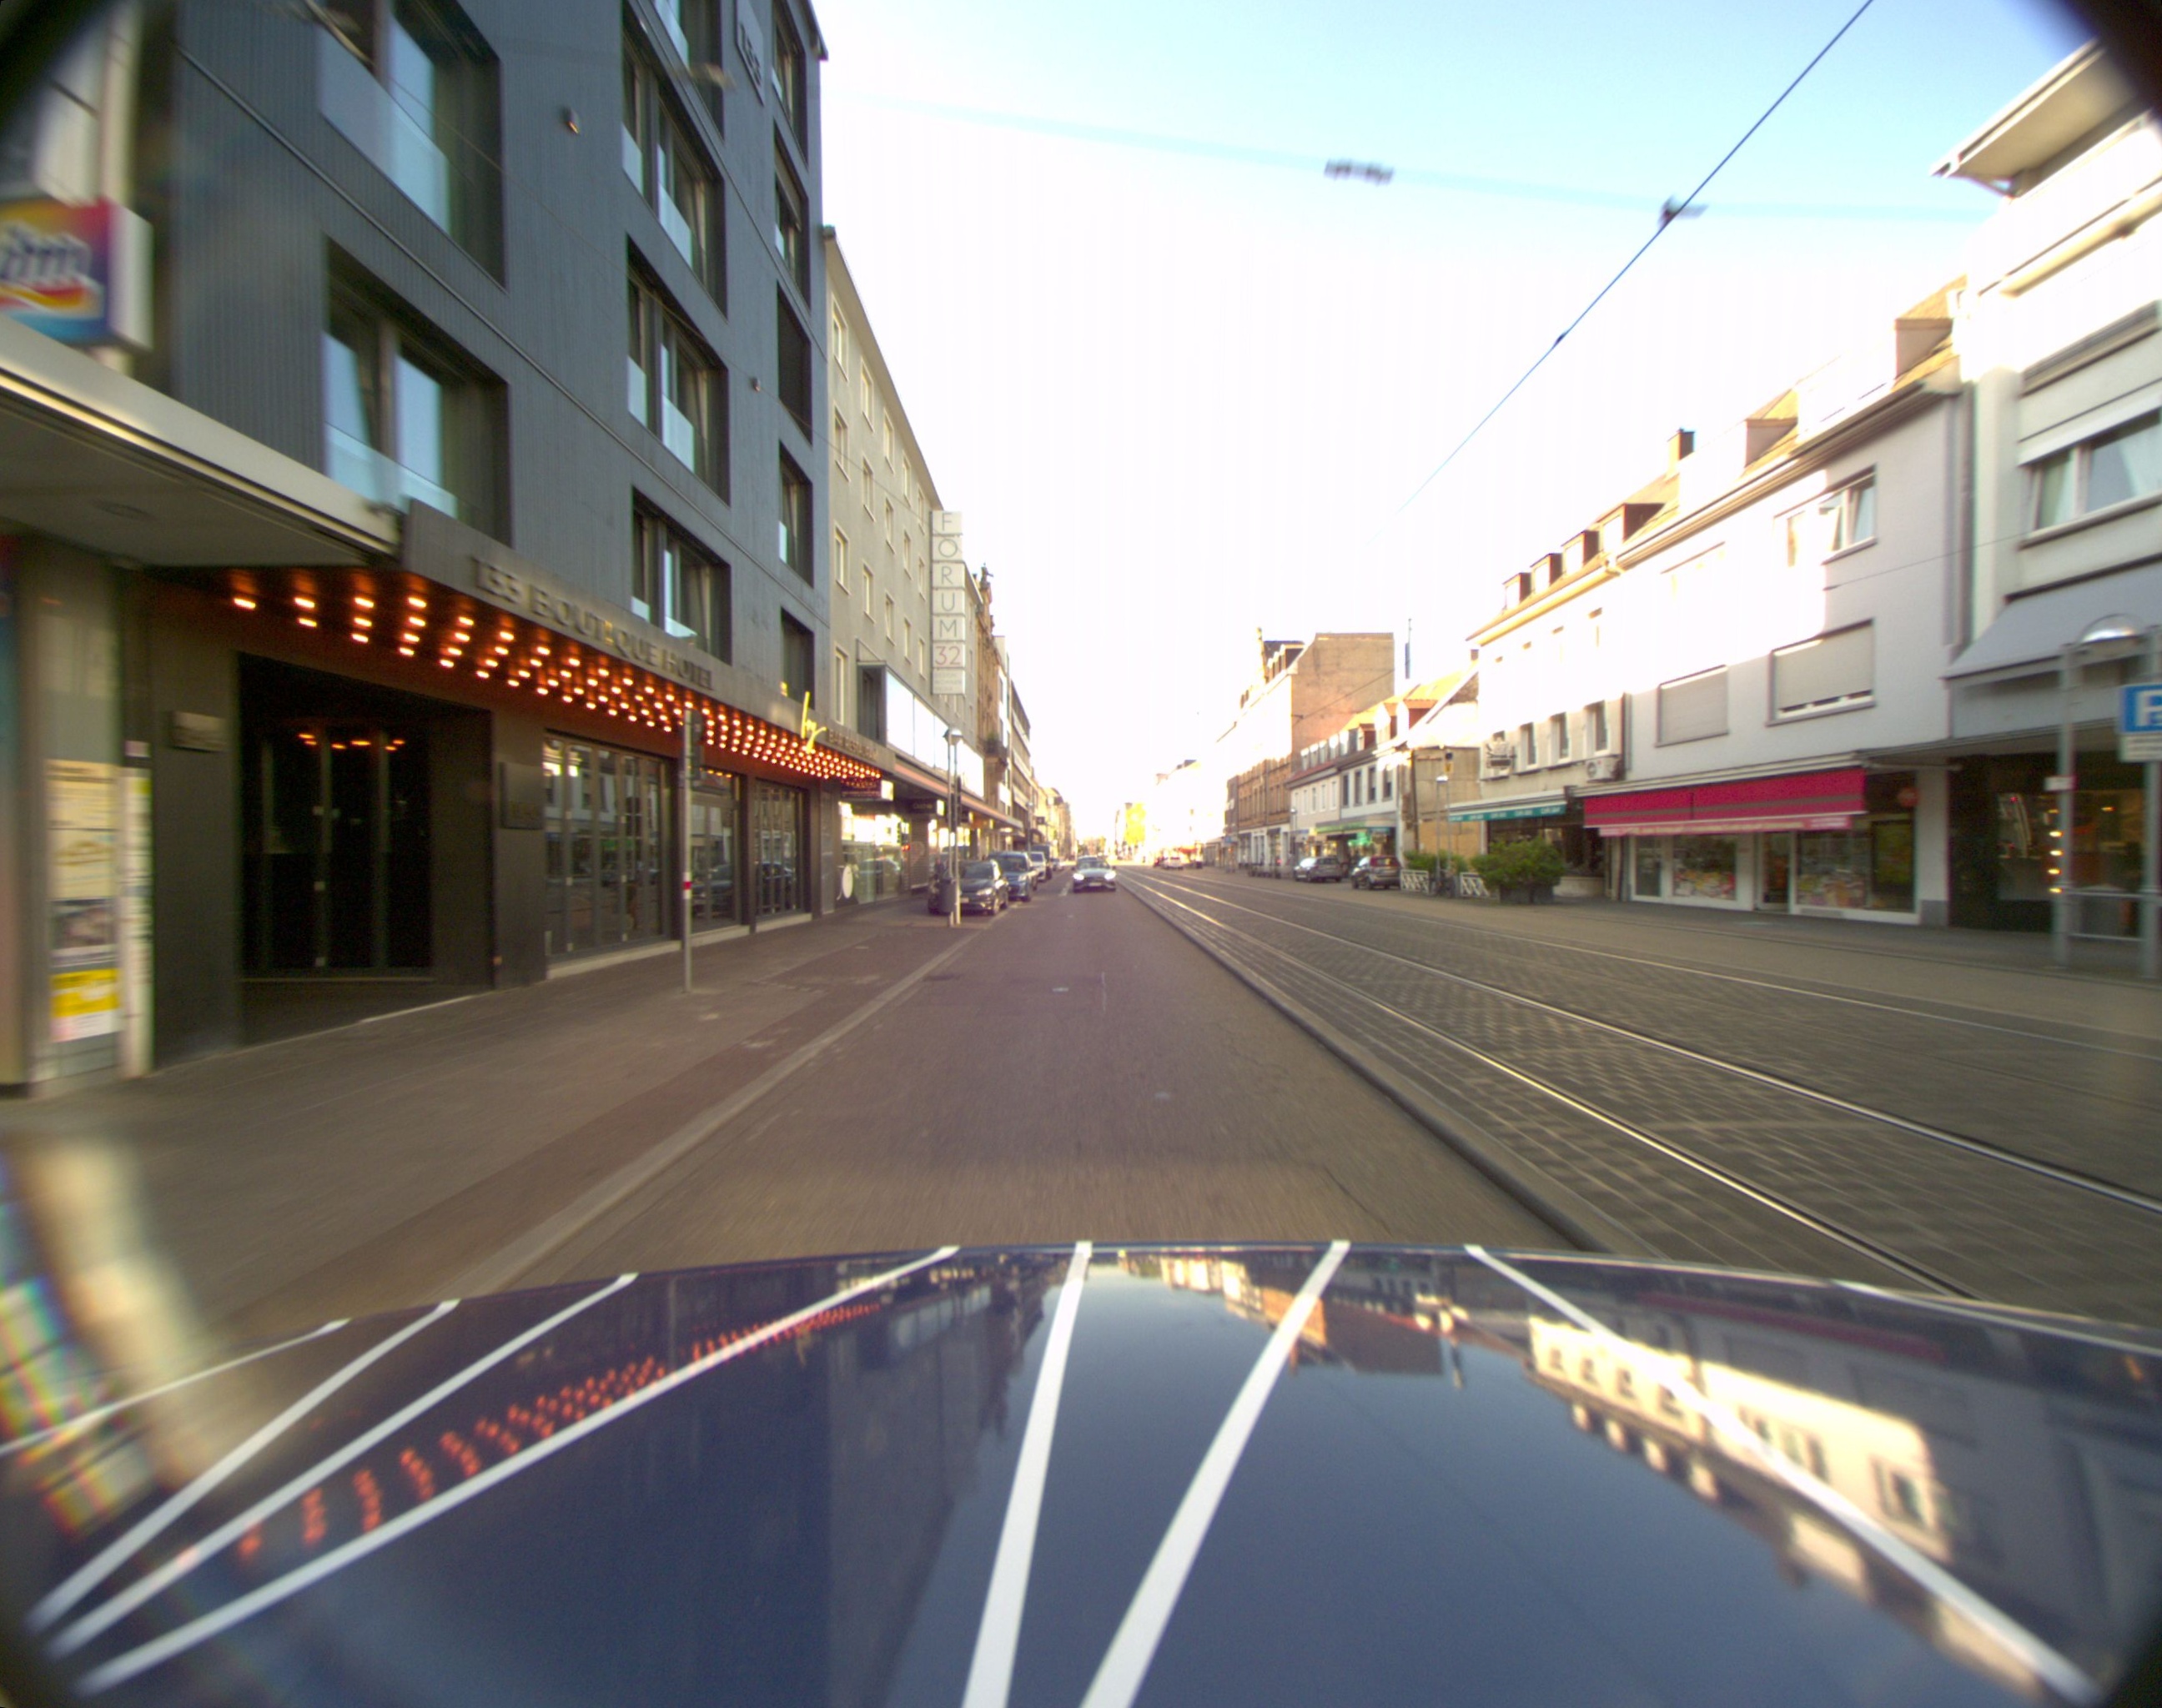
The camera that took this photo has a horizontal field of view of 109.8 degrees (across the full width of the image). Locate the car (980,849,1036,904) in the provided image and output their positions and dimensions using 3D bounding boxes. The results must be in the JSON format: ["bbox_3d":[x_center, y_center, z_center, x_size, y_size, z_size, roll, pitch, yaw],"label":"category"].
[{"bbox_3d":[-2.568,0.741,27.740,1.821,1.849,4.548,1,1,-3],"label":"car"}]

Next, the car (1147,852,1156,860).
[{"bbox_3d":[15.350,0.428,164.570,1.630,1.524,3.463,2,1,0],"label":"car"}]

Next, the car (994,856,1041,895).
[{"bbox_3d":[-2.784,0.920,34.247,1.768,1.568,4.287,1,1,-1],"label":"car"}]

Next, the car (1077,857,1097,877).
[{"bbox_3d":[0.541,1.079,65.714,1.630,1.593,3.330,2,1,0],"label":"car"}]

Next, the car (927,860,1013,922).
[{"bbox_3d":[-3.001,0.959,21.473,1.726,1.476,4.416,1,1,0],"label":"car"}]

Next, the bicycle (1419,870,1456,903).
[{"bbox_3d":[12.816,1.136,27.348,0.519,1.084,1.716,-3,1,1],"label":"bicycle"}]

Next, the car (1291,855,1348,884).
[{"bbox_3d":[13.700,0.860,43.934,1.822,1.505,4.762,-1,0,0],"label":"car"}]

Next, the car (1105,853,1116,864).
[{"bbox_3d":[5.789,0.921,150.528,1.998,2.002,4.000,-3,1,1],"label":"car"}]

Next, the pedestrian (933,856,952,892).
[{"bbox_3d":[-5.605,0.804,30.738,0.577,1.431,0.731,1,1,0],"label":"pedestrian"}]

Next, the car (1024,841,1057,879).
[{"bbox_3d":[-2.846,0.463,54.949,2.051,2.486,5.687,-2,-1,0],"label":"car"}]

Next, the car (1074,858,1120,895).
[{"bbox_3d":[0.642,0.924,33.299,1.858,1.463,4.785,0,0,0],"label":"car"}]

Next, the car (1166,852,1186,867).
[{"bbox_3d":[10.549,0.599,84.685,1.802,1.625,3.676,0,1,0],"label":"car"}]

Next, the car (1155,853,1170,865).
[{"bbox_3d":[10.841,0.635,101.135,1.667,1.521,4.000,1,1,0],"label":"car"}]

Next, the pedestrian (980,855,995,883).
[{"bbox_3d":[-4.947,0.793,40.320,0.697,1.499,0.814,0,1,0],"label":"pedestrian"}]

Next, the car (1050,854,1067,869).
[{"bbox_3d":[-2.417,0.815,83.040,1.630,1.543,3.508,2,1,0],"label":"car"}]

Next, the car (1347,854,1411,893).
[{"bbox_3d":[13.457,0.848,34.460,1.701,1.594,2.891,-2,1,0],"label":"car"}]

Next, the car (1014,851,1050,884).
[{"bbox_3d":[-2.982,0.764,46.998,2.051,1.899,4.877,0,1,-2],"label":"car"}]

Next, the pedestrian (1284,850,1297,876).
[{"bbox_3d":[14.931,0.659,54.144,0.657,1.839,0.583,-2,1,31],"label":"pedestrian"}]

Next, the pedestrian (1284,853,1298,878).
[{"bbox_3d":[14.722,0.815,53.258,0.658,1.752,0.581,-3,1,-7],"label":"pedestrian"}]

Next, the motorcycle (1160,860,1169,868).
[{"bbox_3d":[10.564,1.311,96.296,0.907,0.987,1.935,1,1,0],"label":"motorcycle"}]

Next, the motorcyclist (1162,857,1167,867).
[{"bbox_3d":[10.539,1.041,96.225,0.540,1.295,0.655,1,1,0],"label":"motorcyclist"}]

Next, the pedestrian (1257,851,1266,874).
[{"bbox_3d":[13.943,0.655,58.619,0.581,1.795,0.659,-2,1,12],"label":"pedestrian"}]
